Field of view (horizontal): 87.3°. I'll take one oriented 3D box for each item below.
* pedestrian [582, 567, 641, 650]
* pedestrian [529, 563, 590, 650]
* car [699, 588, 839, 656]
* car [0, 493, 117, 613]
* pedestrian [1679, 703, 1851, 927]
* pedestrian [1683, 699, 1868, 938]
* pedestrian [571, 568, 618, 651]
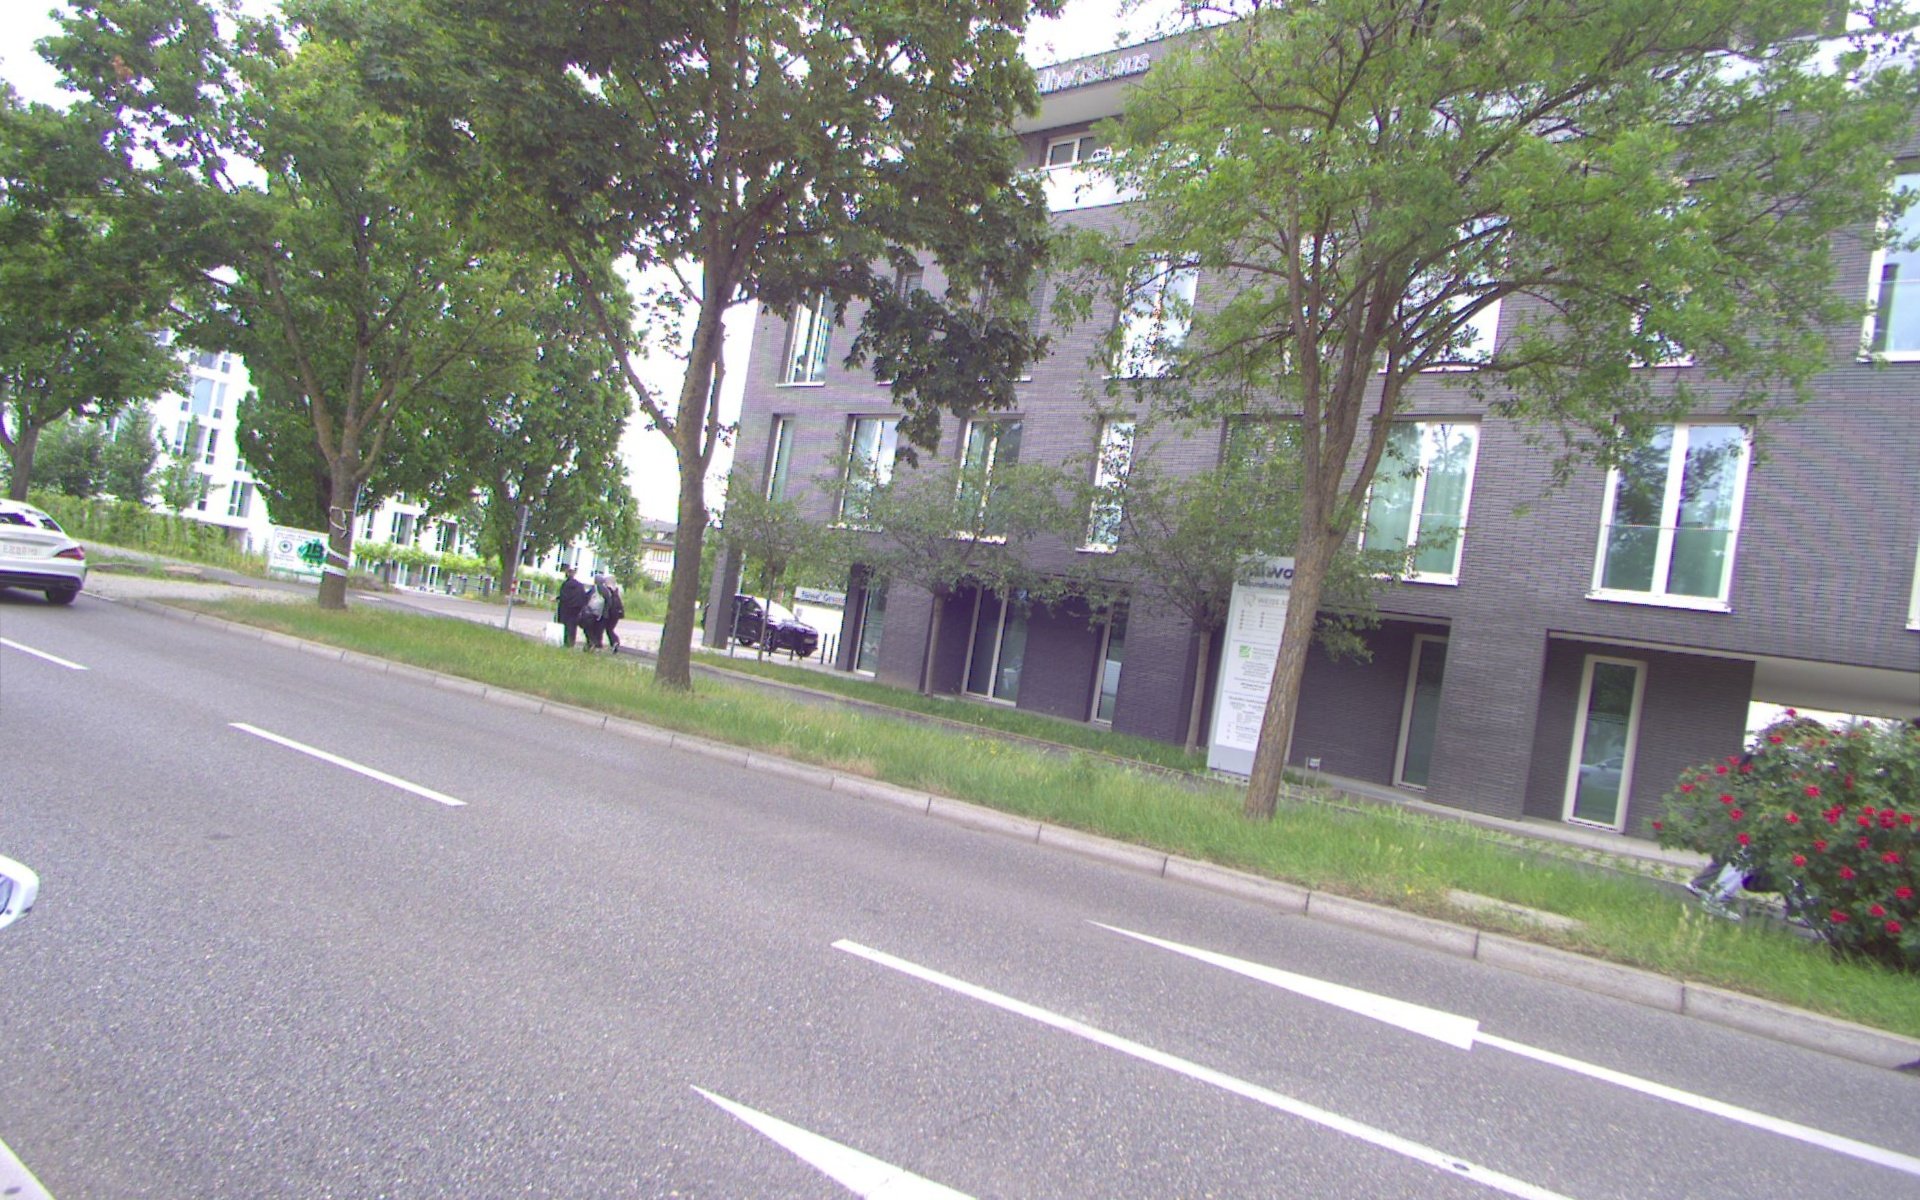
[{"bbox_3d":[-7.168,0.179,20.690,0.732,1.568,0.590,7,-3,37],"label":"pedestrian"},{"bbox_3d":[-7.757,0.127,19.499,0.578,1.570,0.726,7,-2,37],"label":"pedestrian"},{"bbox_3d":[-6.082,0.690,31.902,4.112,1.569,1.828,7,-2,34],"label":"car"},{"bbox_3d":[-14.747,-0.881,14.867,4.618,1.489,1.799,7,-3,28],"label":"car"},{"bbox_3d":[7.375,1.934,9.269,0.938,1.796,0.609,10,0,32],"label":"pedestrian"},{"bbox_3d":[7.009,1.836,8.703,0.938,1.796,0.609,10,0,32],"label":"pedestrian"},{"bbox_3d":[-7.256,0.184,19.974,0.553,1.568,0.410,6,-4,37],"label":"pedestrian"}]
